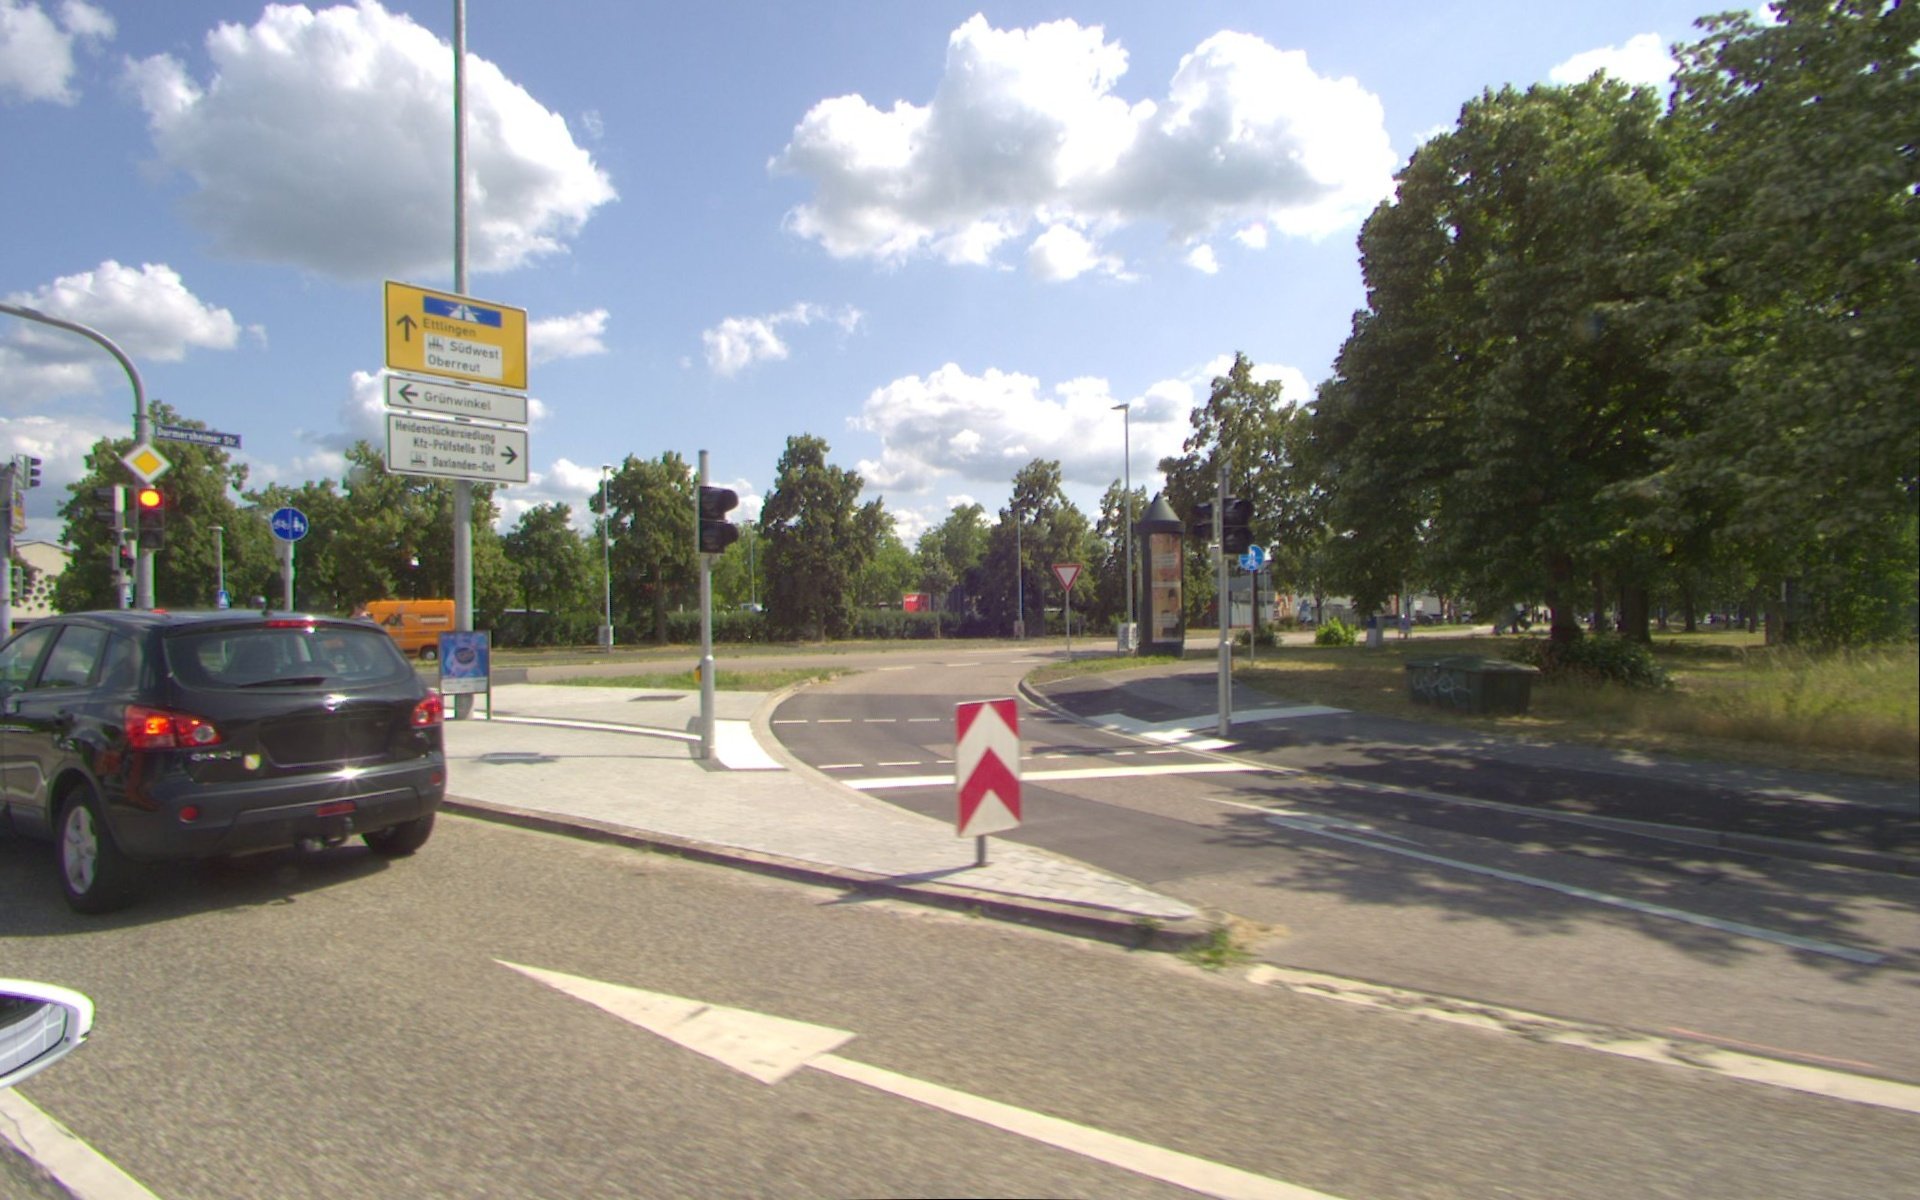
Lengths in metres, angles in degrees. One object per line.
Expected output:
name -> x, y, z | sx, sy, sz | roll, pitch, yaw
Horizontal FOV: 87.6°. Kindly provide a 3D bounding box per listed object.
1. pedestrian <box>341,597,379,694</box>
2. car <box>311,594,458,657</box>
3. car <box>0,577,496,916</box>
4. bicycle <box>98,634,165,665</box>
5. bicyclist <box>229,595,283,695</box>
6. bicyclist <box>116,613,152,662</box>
pedestrian -> -11.408, 0.868, 19.053 | 0.477, 1.800, 0.462 | -2, -3, 42
car -> -22.198, 1.056, 38.845 | 4.790, 2.253, 2.202 | 2, -3, -29
car -> -5.036, 0.775, 6.467 | 3.942, 1.571, 1.798 | -2, -4, 31
bicycle -> -31.146, 1.850, 37.692 | 0.672, 1.107, 2.004 | 0, -2, 8
bicyclist -> -12.221, 0.785, 17.378 | 0.644, 1.682, 0.644 | 3, -3, -43
bicyclist -> -31.139, 1.401, 37.748 | 0.672, 1.827, 0.789 | 0, -1, 8
